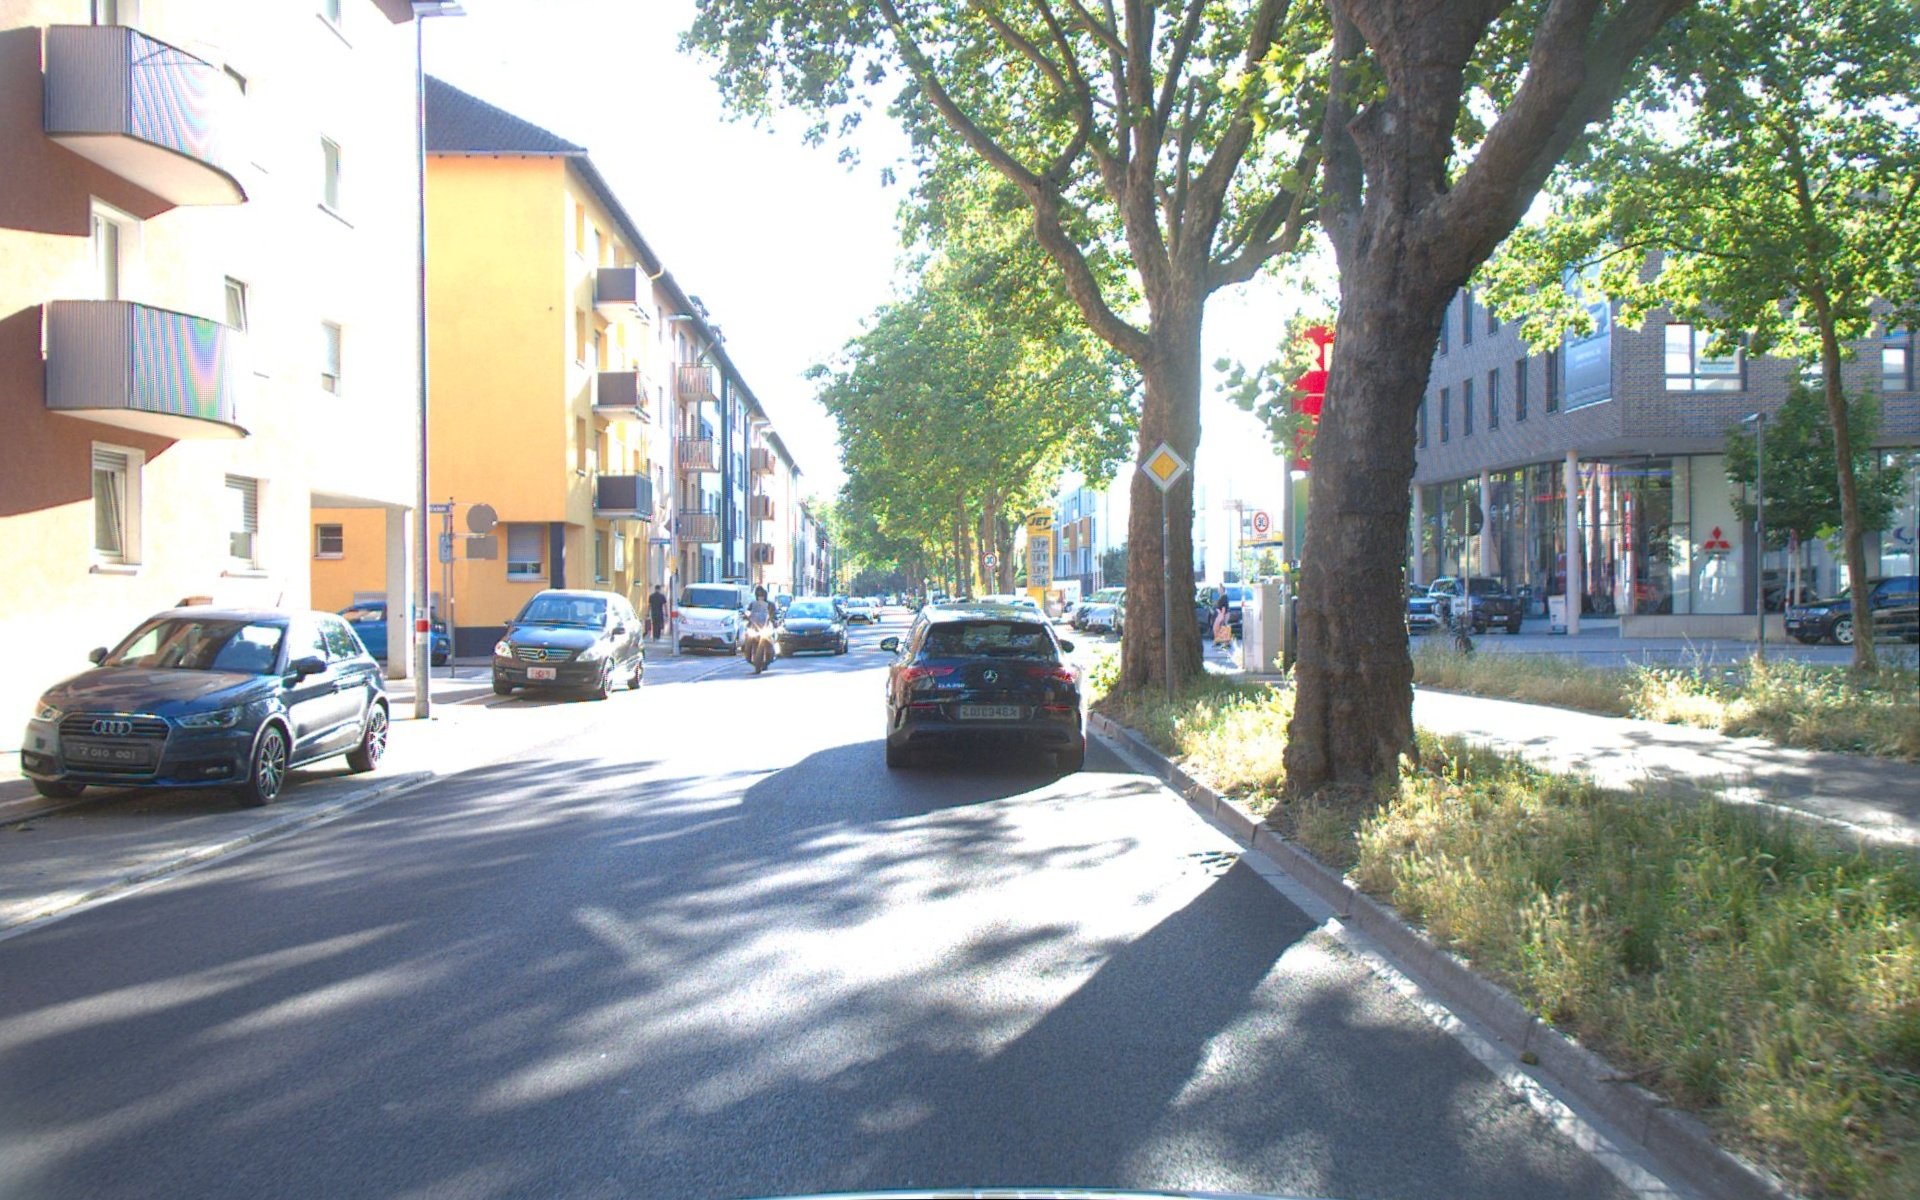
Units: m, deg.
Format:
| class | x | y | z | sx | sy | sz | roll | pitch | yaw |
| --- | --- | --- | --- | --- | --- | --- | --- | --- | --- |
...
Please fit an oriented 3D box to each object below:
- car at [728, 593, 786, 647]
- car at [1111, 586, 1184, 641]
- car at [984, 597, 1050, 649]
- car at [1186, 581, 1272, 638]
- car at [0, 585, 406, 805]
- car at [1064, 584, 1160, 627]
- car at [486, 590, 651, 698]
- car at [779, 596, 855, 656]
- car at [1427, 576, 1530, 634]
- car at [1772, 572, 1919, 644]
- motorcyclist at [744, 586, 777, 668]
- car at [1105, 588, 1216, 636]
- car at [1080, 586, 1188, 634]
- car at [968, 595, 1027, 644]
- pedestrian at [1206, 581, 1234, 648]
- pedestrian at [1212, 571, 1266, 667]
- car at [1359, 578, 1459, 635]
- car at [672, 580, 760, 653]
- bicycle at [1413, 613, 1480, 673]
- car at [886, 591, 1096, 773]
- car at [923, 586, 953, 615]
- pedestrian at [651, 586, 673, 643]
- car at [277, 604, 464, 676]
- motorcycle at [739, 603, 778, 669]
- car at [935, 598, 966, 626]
| class | x | y | z | sx | sy | sz | roll | pitch | yaw |
| --- | --- | --- | --- | --- | --- | --- | --- | --- | --- |
| car | -7.190 | 0.666 | 58.915 | 1.710 | 1.819 | 4.546 | 1 | 0 | -3 |
| car | 6.036 | 0.407 | 53.588 | 1.717 | 1.699 | 4.156 | -1 | 0 | -2 |
| car | 1.713 | 0.698 | 50.771 | 1.602 | 1.493 | 4.018 | -2 | -1 | -3 |
| car | 8.676 | 0.284 | 53.762 | 1.790 | 1.762 | 4.364 | -1 | 0 | -4 |
| car | -5.931 | 0.662 | 13.418 | 1.643 | 1.512 | 3.601 | 1 | 0 | 0 |
| car | 6.166 | 0.219 | 67.017 | 3.783 | 1.606 | 1.721 | -2 | 1 | -40 |
| car | -6.124 | 0.643 | 26.300 | 1.643 | 1.550 | 4.020 | 1 | 0 | 0 |
| car | -3.815 | 0.651 | 44.602 | 1.735 | 1.504 | 4.321 | -1 | 0 | -1 |
| car | 16.755 | 0.149 | 53.619 | 1.945 | 1.764 | 4.179 | -1 | 0 | -1 |
| car | 23.105 | 0.169 | 41.575 | 4.395 | 1.691 | 2.029 | -2 | 1 | -4 |
| motorcyclist | -4.039 | 0.539 | 33.494 | 0.574 | 1.633 | 0.831 | -1 | 0 | -2 |
| car | 7.022 | 0.407 | 57.787 | 3.776 | 1.572 | 1.642 | -1 | 0 | -36 |
| car | 6.365 | 0.351 | 60.382 | 3.780 | 1.638 | 1.718 | -2 | 1 | -38 |
| car | 1.264 | 0.672 | 57.589 | 1.774 | 1.565 | 4.582 | -3 | 0 | -1 |
| pedestrian | 6.859 | 0.386 | 43.605 | 0.677 | 1.753 | 0.722 | -1 | 0 | 11 |
| pedestrian | 5.365 | 0.360 | 31.849 | 0.755 | 1.792 | 0.661 | -2 | 0 | -15 |
| car | 14.462 | 0.200 | 53.463 | 1.839 | 1.764 | 4.177 | -1 | 0 | -4 |
| car | -6.828 | 0.444 | 46.772 | 1.698 | 1.940 | 5.208 | 0 | 0 | 0 |
| bicycle | 8.613 | 0.743 | 29.322 | 0.377 | 1.021 | 1.479 | -1 | 0 | -18 |
| car | 0.264 | 0.677 | 15.654 | 1.708 | 1.469 | 3.969 | 1 | 0 | 0 |
| car | -1.653 | 0.041 | 123.441 | 1.955 | 2.049 | 3.995 | 0 | -1 | -5 |
| pedestrian | -9.693 | 0.470 | 53.747 | 0.575 | 1.821 | 0.642 | -1 | 0 | -1 |
| car | -13.661 | 0.913 | 38.455 | 3.707 | 1.594 | 1.748 | -1 | 0 | -1 |
| motorcycle | -4.061 | 0.709 | 33.422 | 0.536 | 1.263 | 2.263 | -3 | 0 | -2 |
| car | -0.576 | 0.727 | 98.233 | 1.688 | 1.585 | 3.598 | 1 | -1 | -3 |
